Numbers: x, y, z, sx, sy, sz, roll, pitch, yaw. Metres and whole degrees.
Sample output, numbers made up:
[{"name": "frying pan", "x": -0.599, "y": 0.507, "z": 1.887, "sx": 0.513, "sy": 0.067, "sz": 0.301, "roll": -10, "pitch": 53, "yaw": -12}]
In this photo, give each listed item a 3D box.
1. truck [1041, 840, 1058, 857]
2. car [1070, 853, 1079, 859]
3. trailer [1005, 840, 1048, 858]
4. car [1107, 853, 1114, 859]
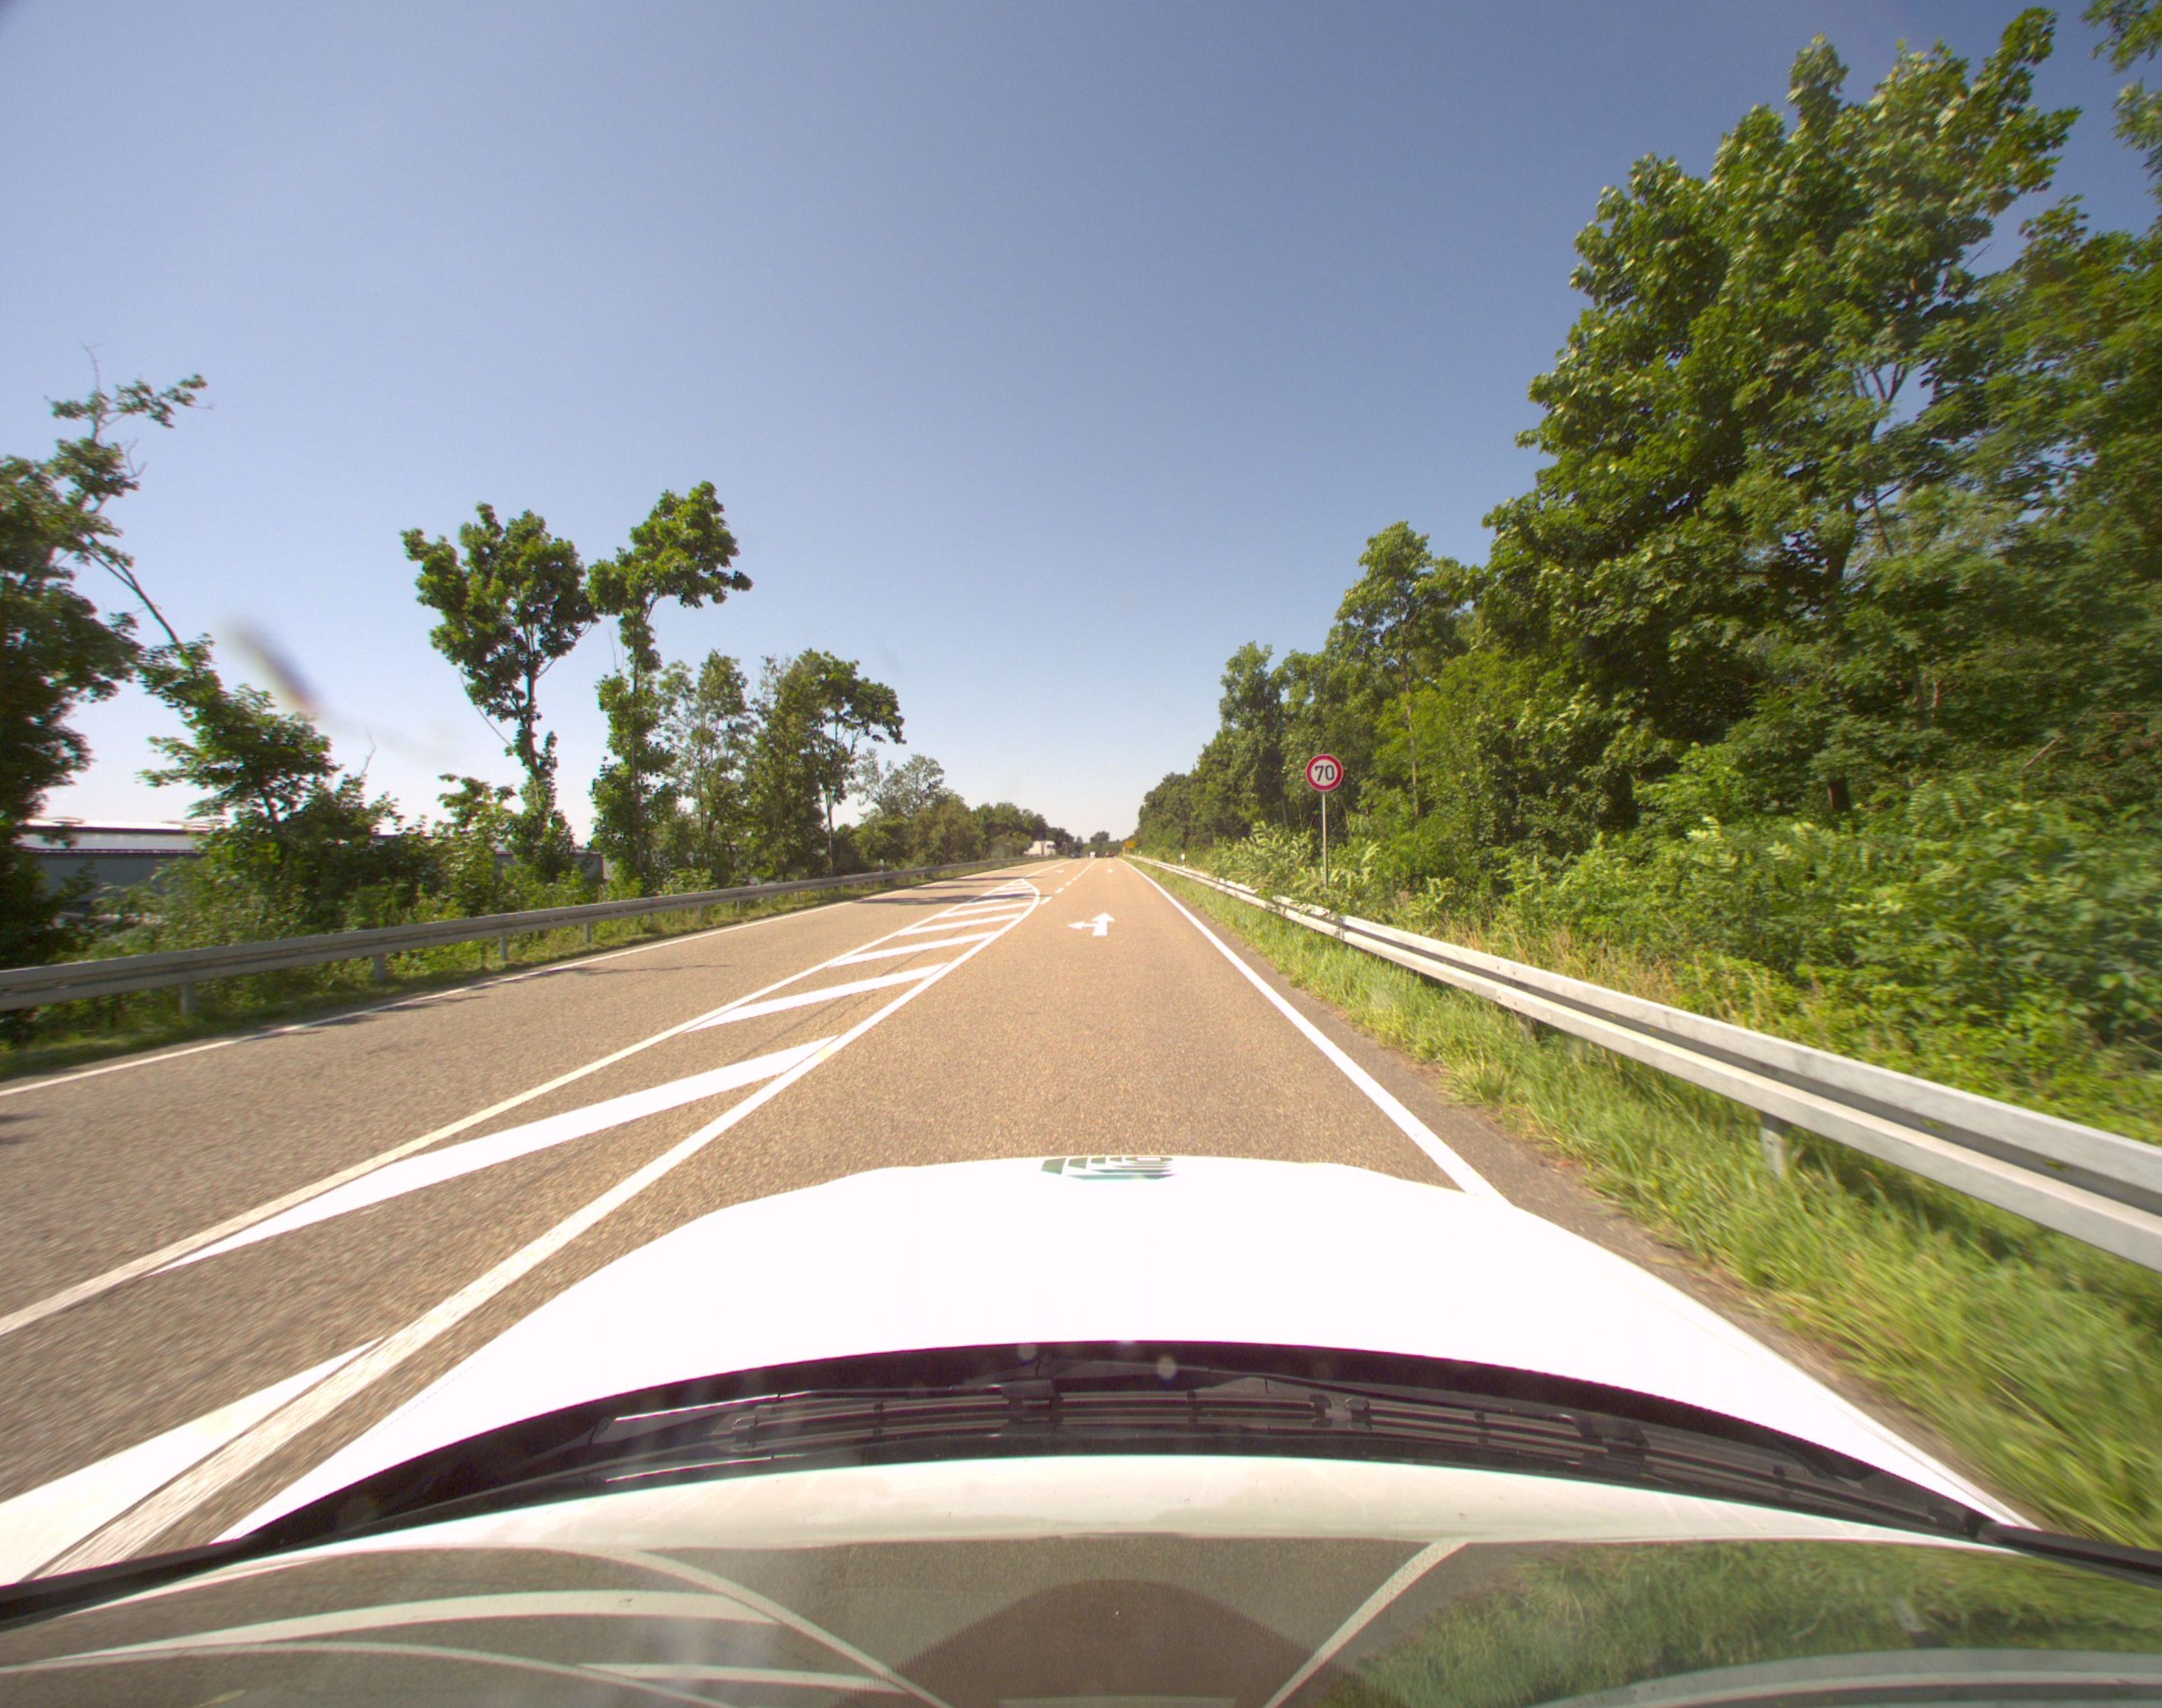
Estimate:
[{"name": "truck", "x": -6.902, "y": -1.163, "z": 177.570, "sx": 3.451, "sy": 3.537, "sz": 2.002, "roll": -1, "pitch": 0, "yaw": 3}, {"name": "car", "x": -1.295, "y": 0.437, "z": 174.199, "sx": 1.724, "sy": 1.267, "sz": 3.907, "roll": -1, "pitch": 0, "yaw": 2}, {"name": "trailer", "x": -11.883, "y": -1.077, "z": 177.836, "sx": 9.063, "sy": 3.578, "sz": 2.002, "roll": -1, "pitch": 0, "yaw": 3}, {"name": "car", "x": 6.814, "y": 0.472, "z": 189.161, "sx": 1.734, "sy": 1.470, "sz": 3.694, "roll": -1, "pitch": 0, "yaw": 2}]
